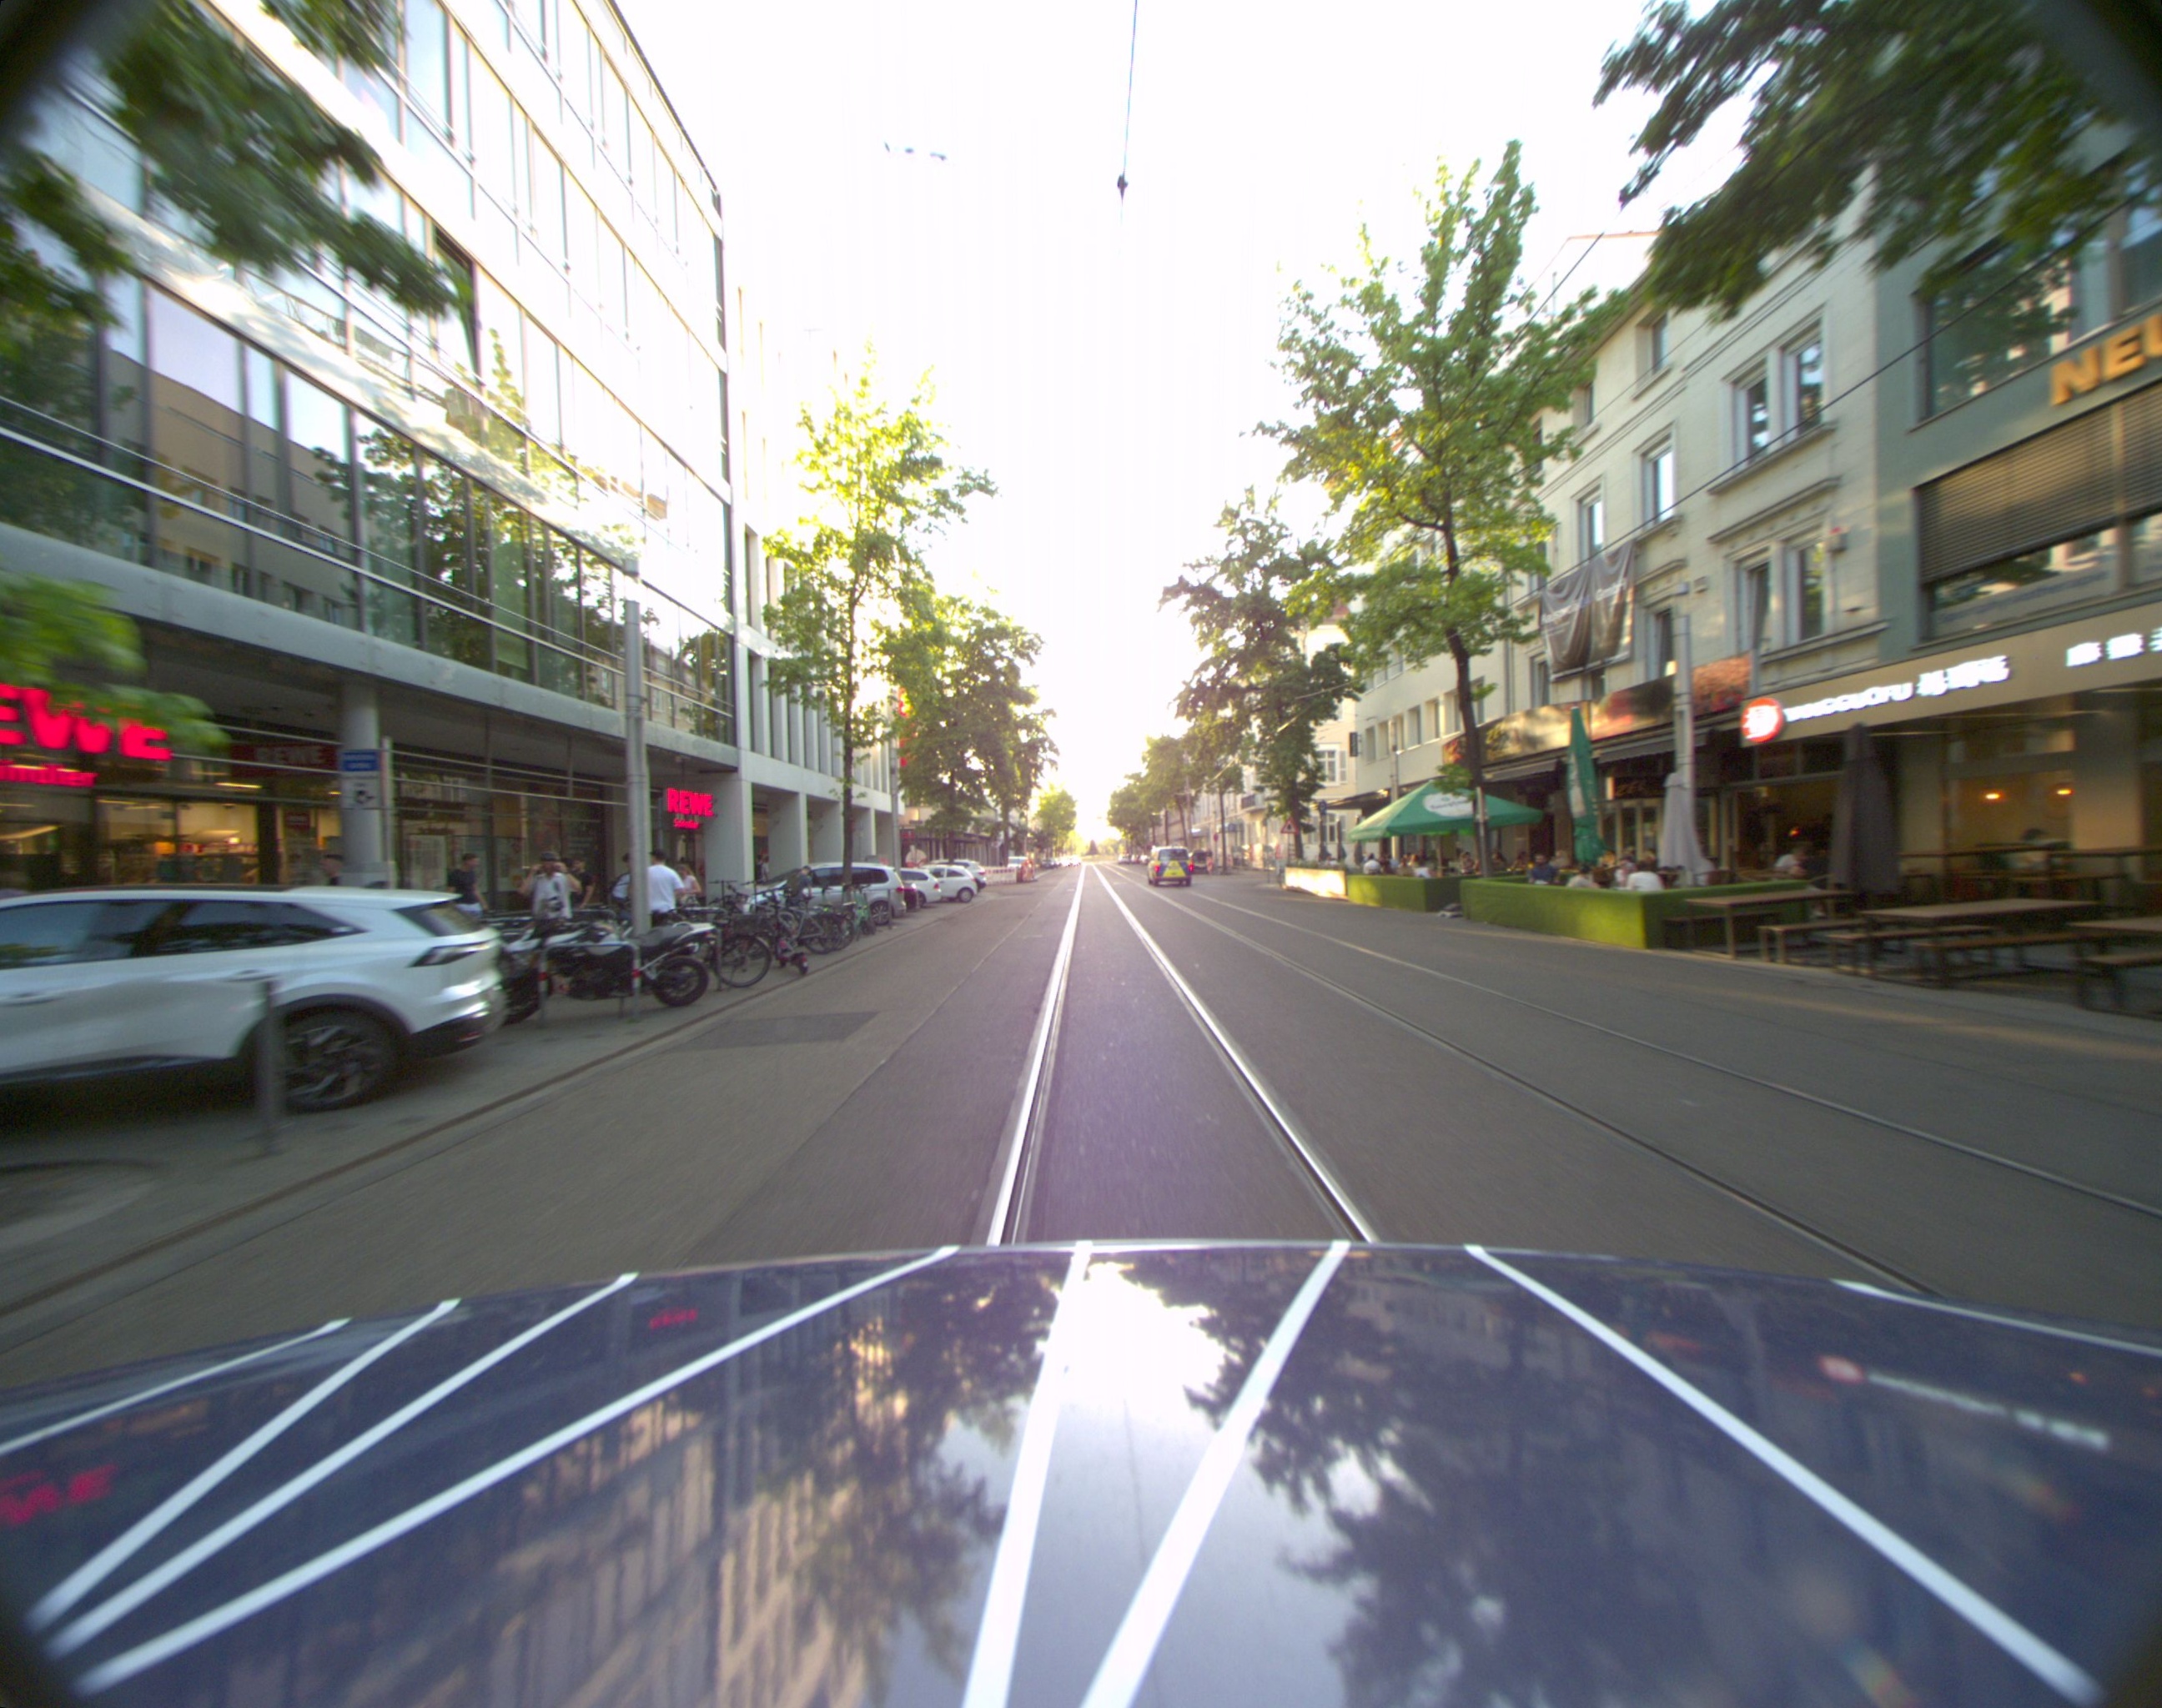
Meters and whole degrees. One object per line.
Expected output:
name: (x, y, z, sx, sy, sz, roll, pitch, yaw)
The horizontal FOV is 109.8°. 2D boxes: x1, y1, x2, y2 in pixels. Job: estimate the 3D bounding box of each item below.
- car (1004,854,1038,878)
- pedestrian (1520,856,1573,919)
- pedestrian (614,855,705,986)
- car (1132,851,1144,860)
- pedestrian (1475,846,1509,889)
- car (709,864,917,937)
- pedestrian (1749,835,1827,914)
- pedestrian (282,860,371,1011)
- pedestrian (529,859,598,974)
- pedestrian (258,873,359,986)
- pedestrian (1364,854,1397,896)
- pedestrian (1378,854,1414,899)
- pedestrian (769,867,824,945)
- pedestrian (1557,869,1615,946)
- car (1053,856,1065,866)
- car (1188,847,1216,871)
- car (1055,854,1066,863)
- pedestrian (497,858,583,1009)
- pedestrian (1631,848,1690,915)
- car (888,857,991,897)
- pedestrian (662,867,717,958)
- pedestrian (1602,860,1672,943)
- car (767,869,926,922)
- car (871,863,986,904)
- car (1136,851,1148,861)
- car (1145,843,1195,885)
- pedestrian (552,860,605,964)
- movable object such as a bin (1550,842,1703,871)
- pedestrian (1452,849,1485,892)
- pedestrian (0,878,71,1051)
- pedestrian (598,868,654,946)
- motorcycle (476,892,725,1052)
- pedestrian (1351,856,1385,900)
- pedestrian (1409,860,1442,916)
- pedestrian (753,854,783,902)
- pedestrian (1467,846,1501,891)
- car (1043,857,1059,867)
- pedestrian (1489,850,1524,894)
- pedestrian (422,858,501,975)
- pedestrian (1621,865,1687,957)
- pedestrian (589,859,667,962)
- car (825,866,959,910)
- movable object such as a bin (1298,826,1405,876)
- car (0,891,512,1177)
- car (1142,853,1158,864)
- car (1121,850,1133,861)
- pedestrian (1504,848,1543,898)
car: (-4.507, 0.882, 57.414, 1.998, 1.760, 4.671, 1, 0, 3)
pedestrian: (9.741, 0.680, 15.913, 0.710, 1.257, 0.600, -2, 1, 1)
pedestrian: (-6.368, 0.978, 11.531, 0.952, 1.902, 0.862, 1, -1, -11)
car: (10.353, 0.340, 137.359, 1.998, 1.540, 4.105, -2, 0, 2)
pedestrian: (13.503, 0.434, 24.979, 0.656, 1.370, 0.765, -2, 1, 1)
car: (-6.818, 1.100, 19.547, 4.684, 1.630, 1.950, 0, 0, -35)
pedestrian: (12.810, 0.365, 13.794, 0.692, 1.370, 0.765, -2, 1, 1)
pedestrian: (-9.490, 0.978, 9.562, 0.790, 1.802, 0.661, 0, 0, 36)
pedestrian: (-8.423, 0.983, 12.379, 0.658, 1.802, 0.718, 0, 0, 31)
pedestrian: (-11.175, 1.070, 11.012, 0.681, 1.539, 0.664, -2, 1, 0)
pedestrian: (10.027, 0.697, 25.443, 0.717, 1.354, 0.924, -2, 1, 3)
pedestrian: (10.101, 0.710, 24.413, 0.717, 1.354, 1.012, -2, 1, 3)
pedestrian: (-6.056, 1.084, 16.188, 0.790, 1.616, 0.770, 0, 0, 19)
pedestrian: (8.668, 0.904, 13.064, 0.552, 1.259, 0.641, -2, 1, 1)
car: (-3.248, 1.010, 112.430, 1.738, 1.311, 4.104, 0, 0, 0)
car: (9.609, 0.401, 60.592, 1.772, 1.754, 3.879, -4, 0, 4)
car: (-3.624, 0.851, 134.662, 1.686, 1.471, 3.846, -2, 0, -1)
pedestrian: (-6.830, 0.968, 9.596, 0.820, 1.801, 0.599, 2, -1, -38)
pedestrian: (12.388, 0.570, 16.268, 0.656, 1.370, 0.765, -2, 1, 1)
car: (-6.432, 1.026, 34.573, 4.278, 1.662, 1.948, 1, 1, -24)
pedestrian: (-7.304, 1.065, 14.180, 0.704, 1.615, 0.661, 0, 0, 36)
pedestrian: (9.533, 0.801, 13.056, 0.645, 1.338, 0.731, -2, 1, 2)
car: (-6.968, 1.185, 22.634, 4.355, 1.414, 1.951, 1, 1, -21)
car: (-5.998, 1.120, 29.929, 4.075, 1.492, 1.791, 1, 1, -29)
car: (10.531, 0.341, 131.358, 1.998, 1.567, 4.105, -2, 0, 2)
car: (4.516, 0.491, 39.196, 1.998, 1.965, 4.849, -2, 0, 0)
pedestrian: (-8.795, 0.978, 13.284, 0.718, 1.743, 0.730, 0, 0, -37)
movable object such as a bin: (33.078, 0.132, 46.273, 7.289, 1.655, 2.899, -1, 1, -1)
pedestrian: (12.804, 0.539, 25.119, 0.656, 1.370, 0.765, -2, 1, 1)
pedestrian: (-11.050, 1.116, 7.604, 0.681, 1.689, 0.805, -2, 1, 0)
pedestrian: (-9.468, 1.085, 15.832, 0.761, 1.563, 0.632, -1, 1, 23)
motorcycle: (-5.216, 1.193, 8.371, 2.210, 1.463, 0.794, 0, -1, -43)
pedestrian: (9.201, 0.747, 24.389, 0.717, 1.354, 1.012, -2, 1, 3)
pedestrian: (8.710, 0.845, 19.209, 0.548, 1.370, 0.564, -2, 1, 1)
pedestrian: (-11.263, 0.854, 27.336, 0.681, 1.689, 0.806, -2, -1, 0)
pedestrian: (12.814, 0.453, 24.180, 0.656, 1.370, 0.765, -2, 1, 1)
car: (-3.983, 1.045, 102.290, 2.002, 1.354, 4.105, 0, 0, 0)
pedestrian: (13.503, 0.562, 24.135, 0.656, 1.370, 0.765, -2, 1, 1)
pedestrian: (-9.880, 0.970, 12.141, 0.659, 1.802, 0.717, 0, 0, 5)
pedestrian: (9.046, 0.886, 12.009, 0.581, 1.370, 0.564, -2, 1, 1)
pedestrian: (-8.297, 0.999, 13.932, 0.885, 1.802, 0.939, 0, 0, 36)
car: (-6.680, 1.159, 26.831, 4.355, 1.414, 1.825, 1, 0, -22)
movable object such as a bin: (16.442, -0.212, 46.447, 5.561, 2.856, 2.643, -1, 1, -2)
car: (-6.748, 1.105, 5.257, 4.352, 1.554, 1.872, 1, 0, -32)
car: (10.052, 0.601, 111.021, 1.998, 1.494, 4.105, -2, 0, 0)
car: (7.984, 0.237, 133.058, 1.998, 1.727, 4.105, -2, 0, 2)
pedestrian: (12.622, 0.530, 21.689, 0.656, 1.370, 0.765, -2, 1, 1)
